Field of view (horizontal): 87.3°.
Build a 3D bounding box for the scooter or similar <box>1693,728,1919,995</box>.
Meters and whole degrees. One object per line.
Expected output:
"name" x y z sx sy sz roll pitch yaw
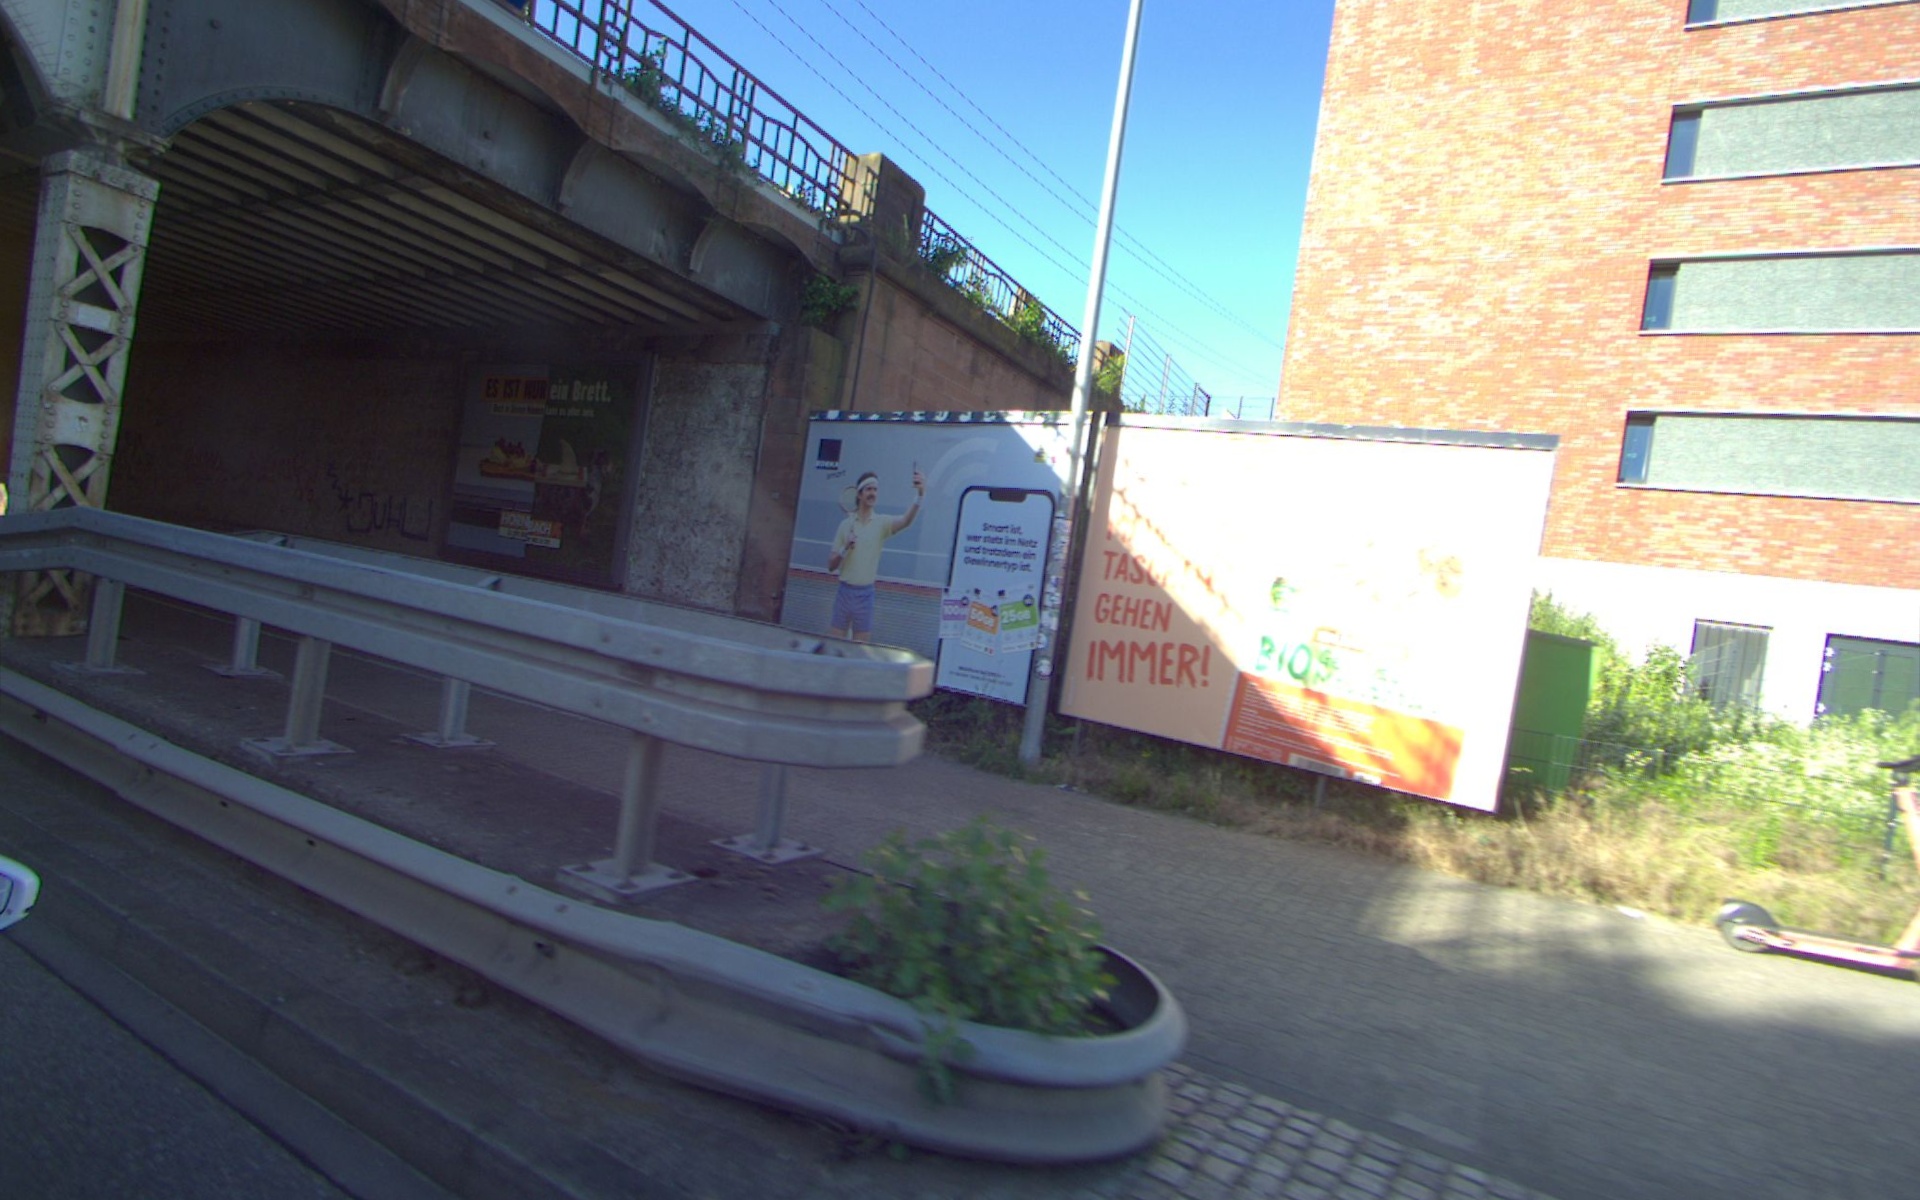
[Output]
"scooter or similar" 4.895 1.412 5.492 1.269 1.211 0.538 7 0 31
